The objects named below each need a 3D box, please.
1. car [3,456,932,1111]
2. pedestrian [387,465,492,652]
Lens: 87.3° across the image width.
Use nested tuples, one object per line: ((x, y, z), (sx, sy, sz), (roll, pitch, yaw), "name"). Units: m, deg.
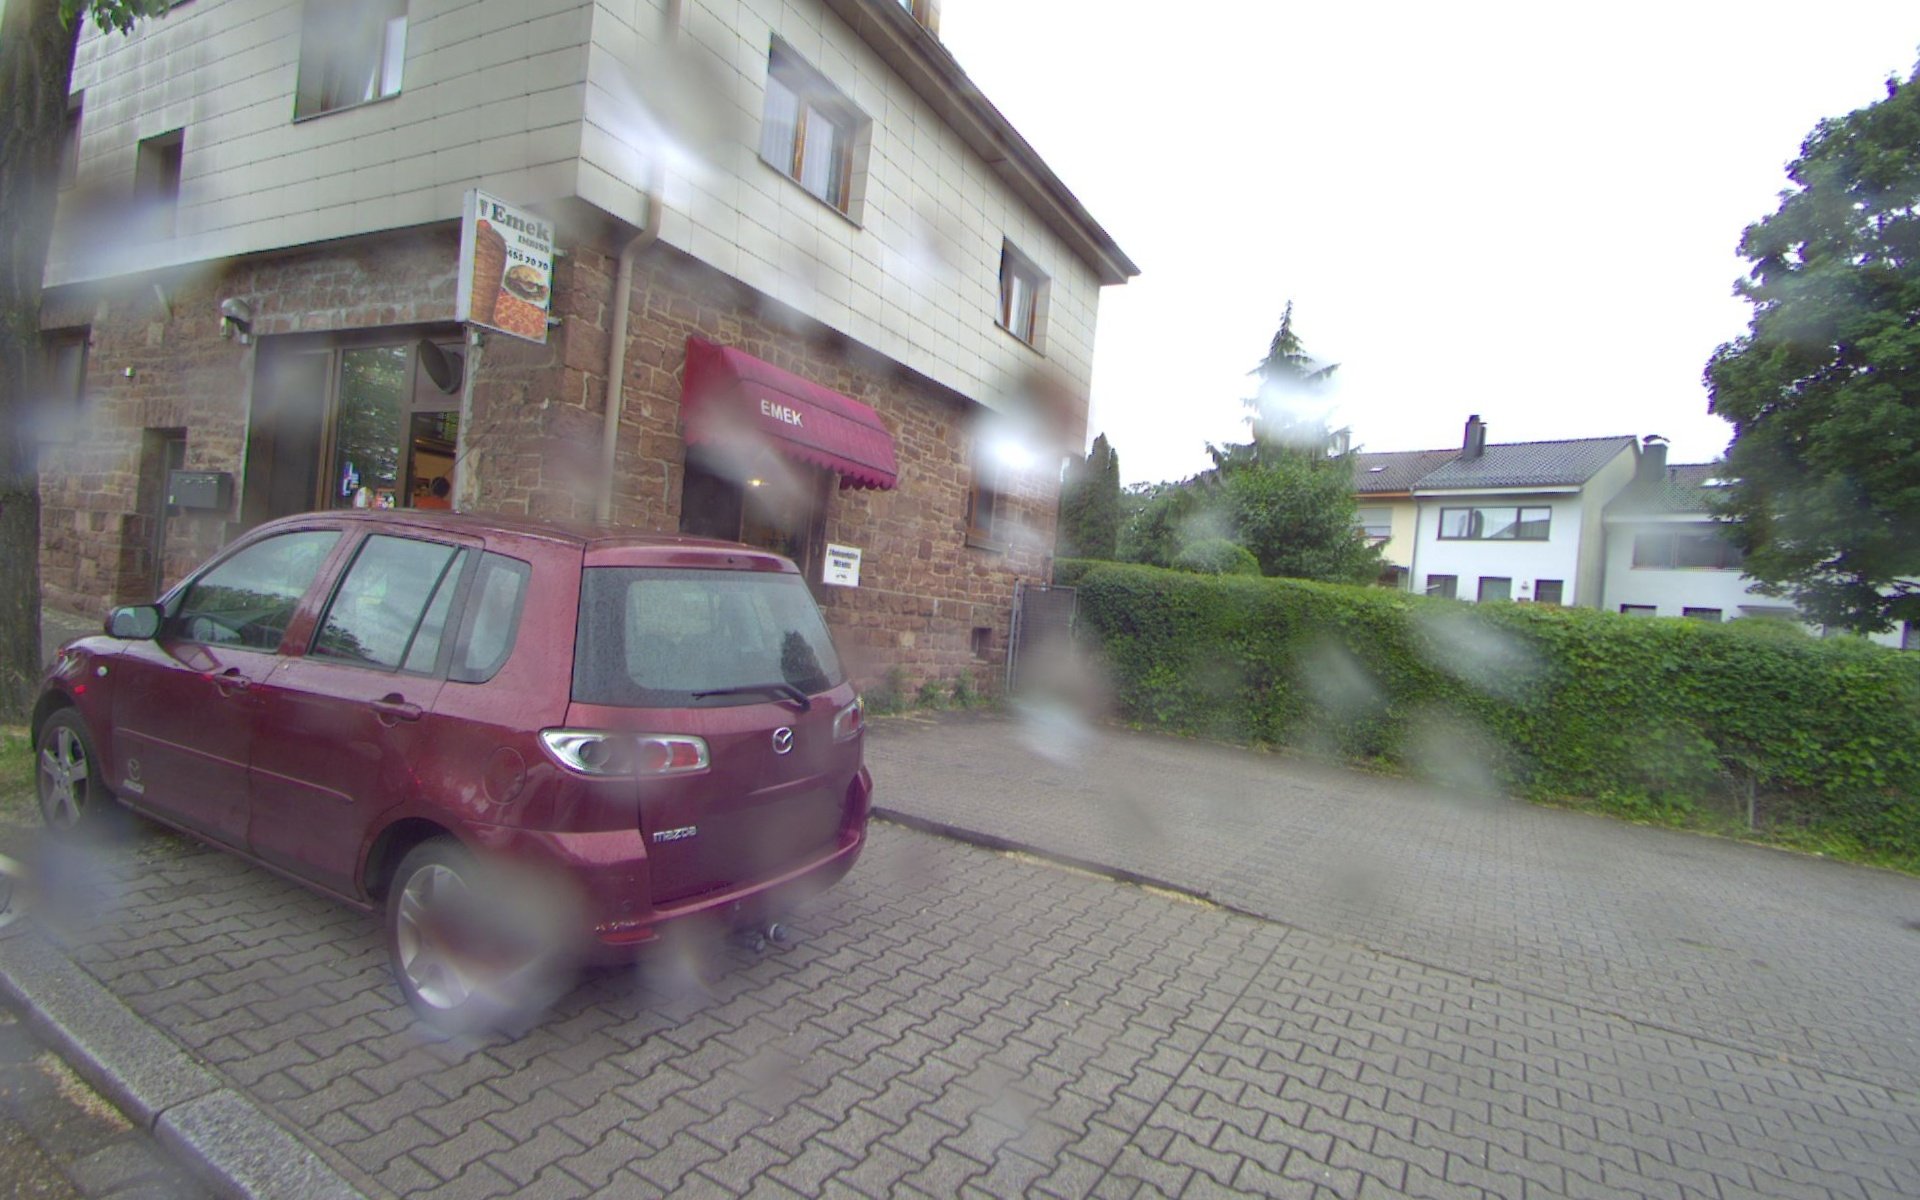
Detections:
((-2.105, 0.361, 4.077), (3.565, 1.511, 1.584), (7, 3, 30), "car")
((-5.456, -0.418, 10.555), (0.475, 1.862, 0.638), (7, 0, 31), "pedestrian")
